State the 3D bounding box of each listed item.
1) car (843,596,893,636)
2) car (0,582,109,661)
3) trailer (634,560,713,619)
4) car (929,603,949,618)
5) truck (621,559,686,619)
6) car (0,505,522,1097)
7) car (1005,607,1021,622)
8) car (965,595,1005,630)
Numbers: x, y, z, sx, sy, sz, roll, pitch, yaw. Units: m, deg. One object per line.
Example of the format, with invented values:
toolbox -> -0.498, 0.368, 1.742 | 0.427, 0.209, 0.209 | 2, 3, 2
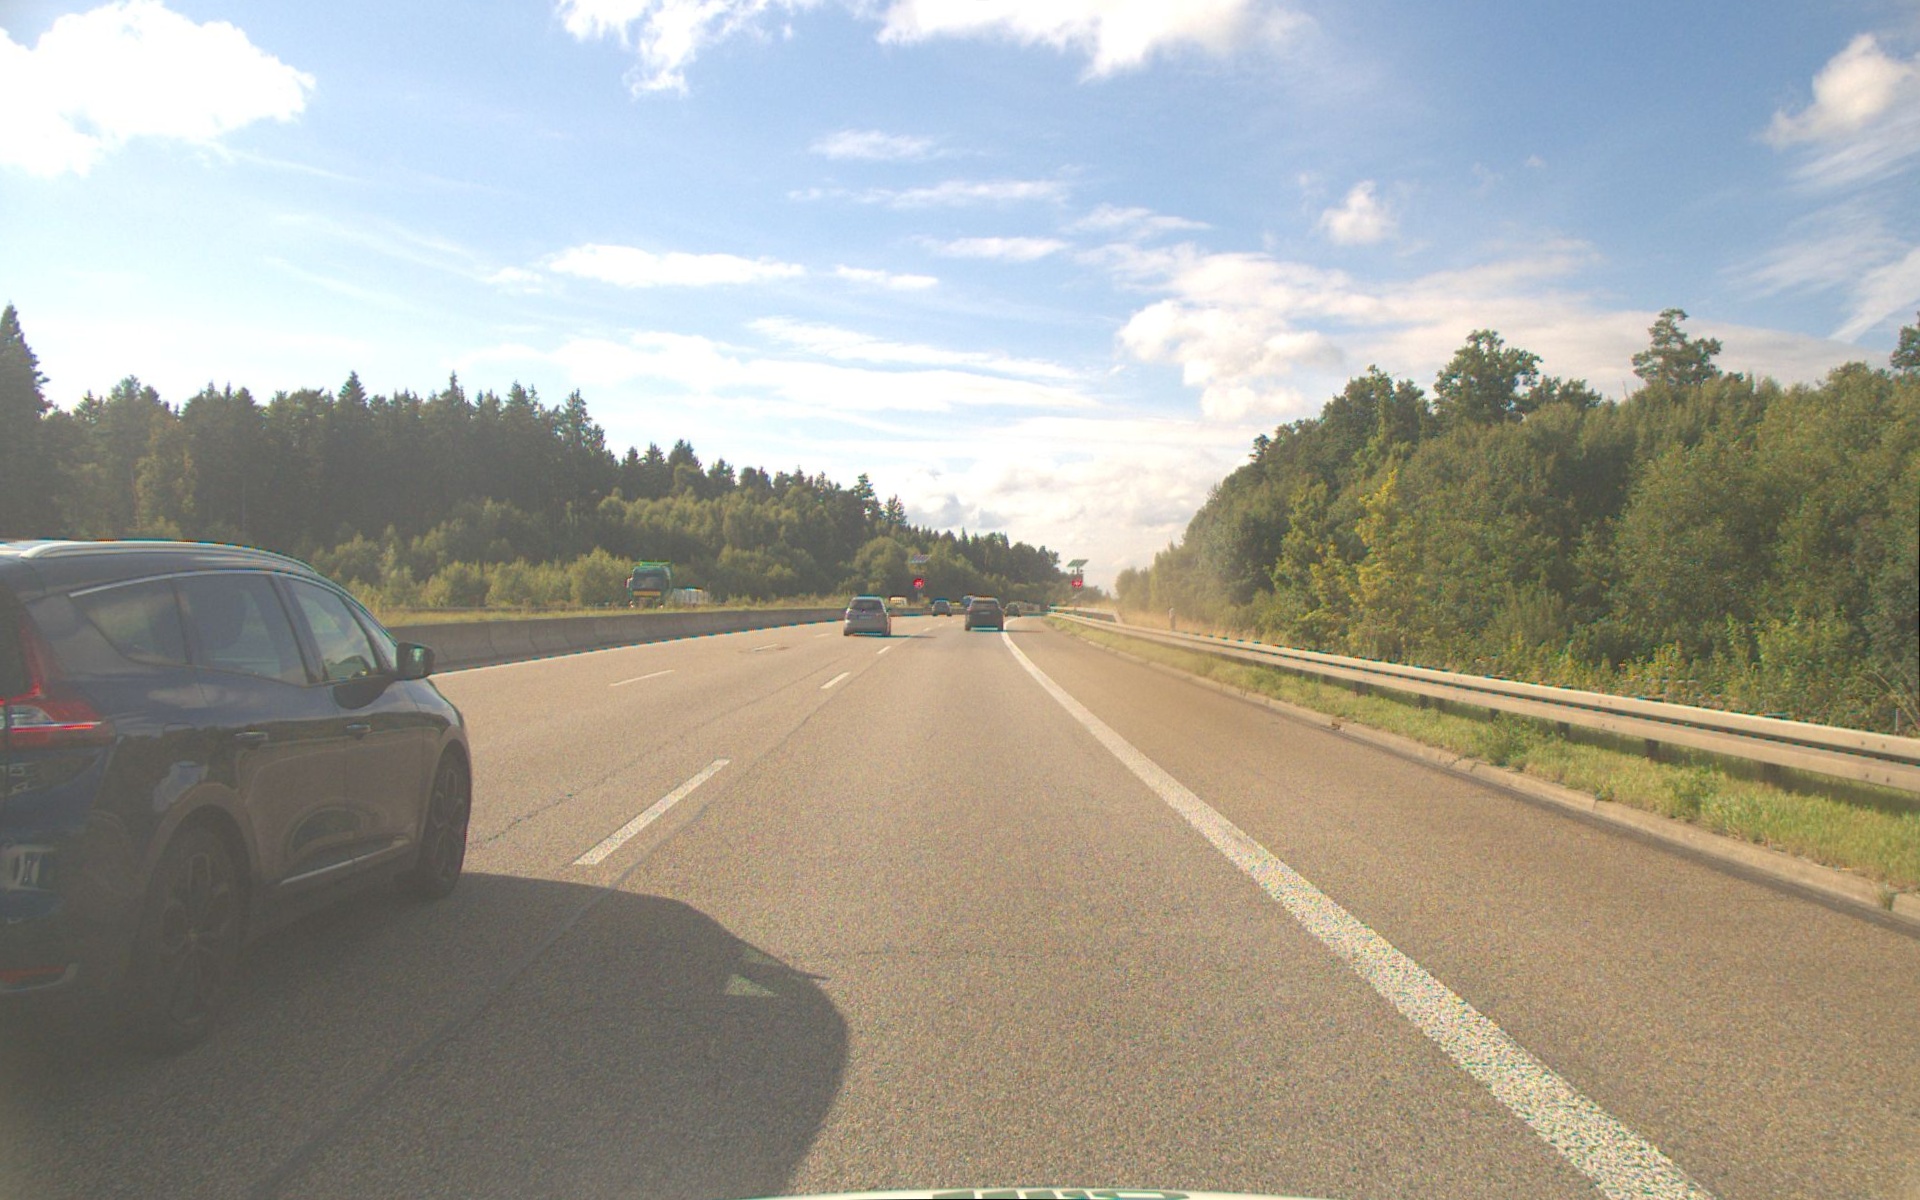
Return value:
car -> -3.672, 0.623, 66.655 | 1.835, 1.523, 3.879 | 1, 0, -1
car -> -18.966, 0.392, 33.066 | 1.803, 1.482, 4.000 | 1, 0, 0
trailer -> -21.219, -0.717, 123.438 | 3.306, 4.079, 13.641 | 1, 0, 1
car -> -2.270, 1.080, 176.501 | 1.834, 1.523, 3.882 | 1, 0, 3
truck -> -21.330, -0.735, 115.540 | 3.306, 4.079, 5.864 | 1, 0, 1
car -> -3.437, 0.577, 7.108 | 1.953, 1.736, 4.528 | 1, 0, -1
car -> 6.207, 1.701, 193.948 | 1.774, 1.736, 4.002 | 0, 0, 4
car -> 1.228, 0.603, 82.236 | 1.835, 1.704, 3.889 | 1, 0, -1
